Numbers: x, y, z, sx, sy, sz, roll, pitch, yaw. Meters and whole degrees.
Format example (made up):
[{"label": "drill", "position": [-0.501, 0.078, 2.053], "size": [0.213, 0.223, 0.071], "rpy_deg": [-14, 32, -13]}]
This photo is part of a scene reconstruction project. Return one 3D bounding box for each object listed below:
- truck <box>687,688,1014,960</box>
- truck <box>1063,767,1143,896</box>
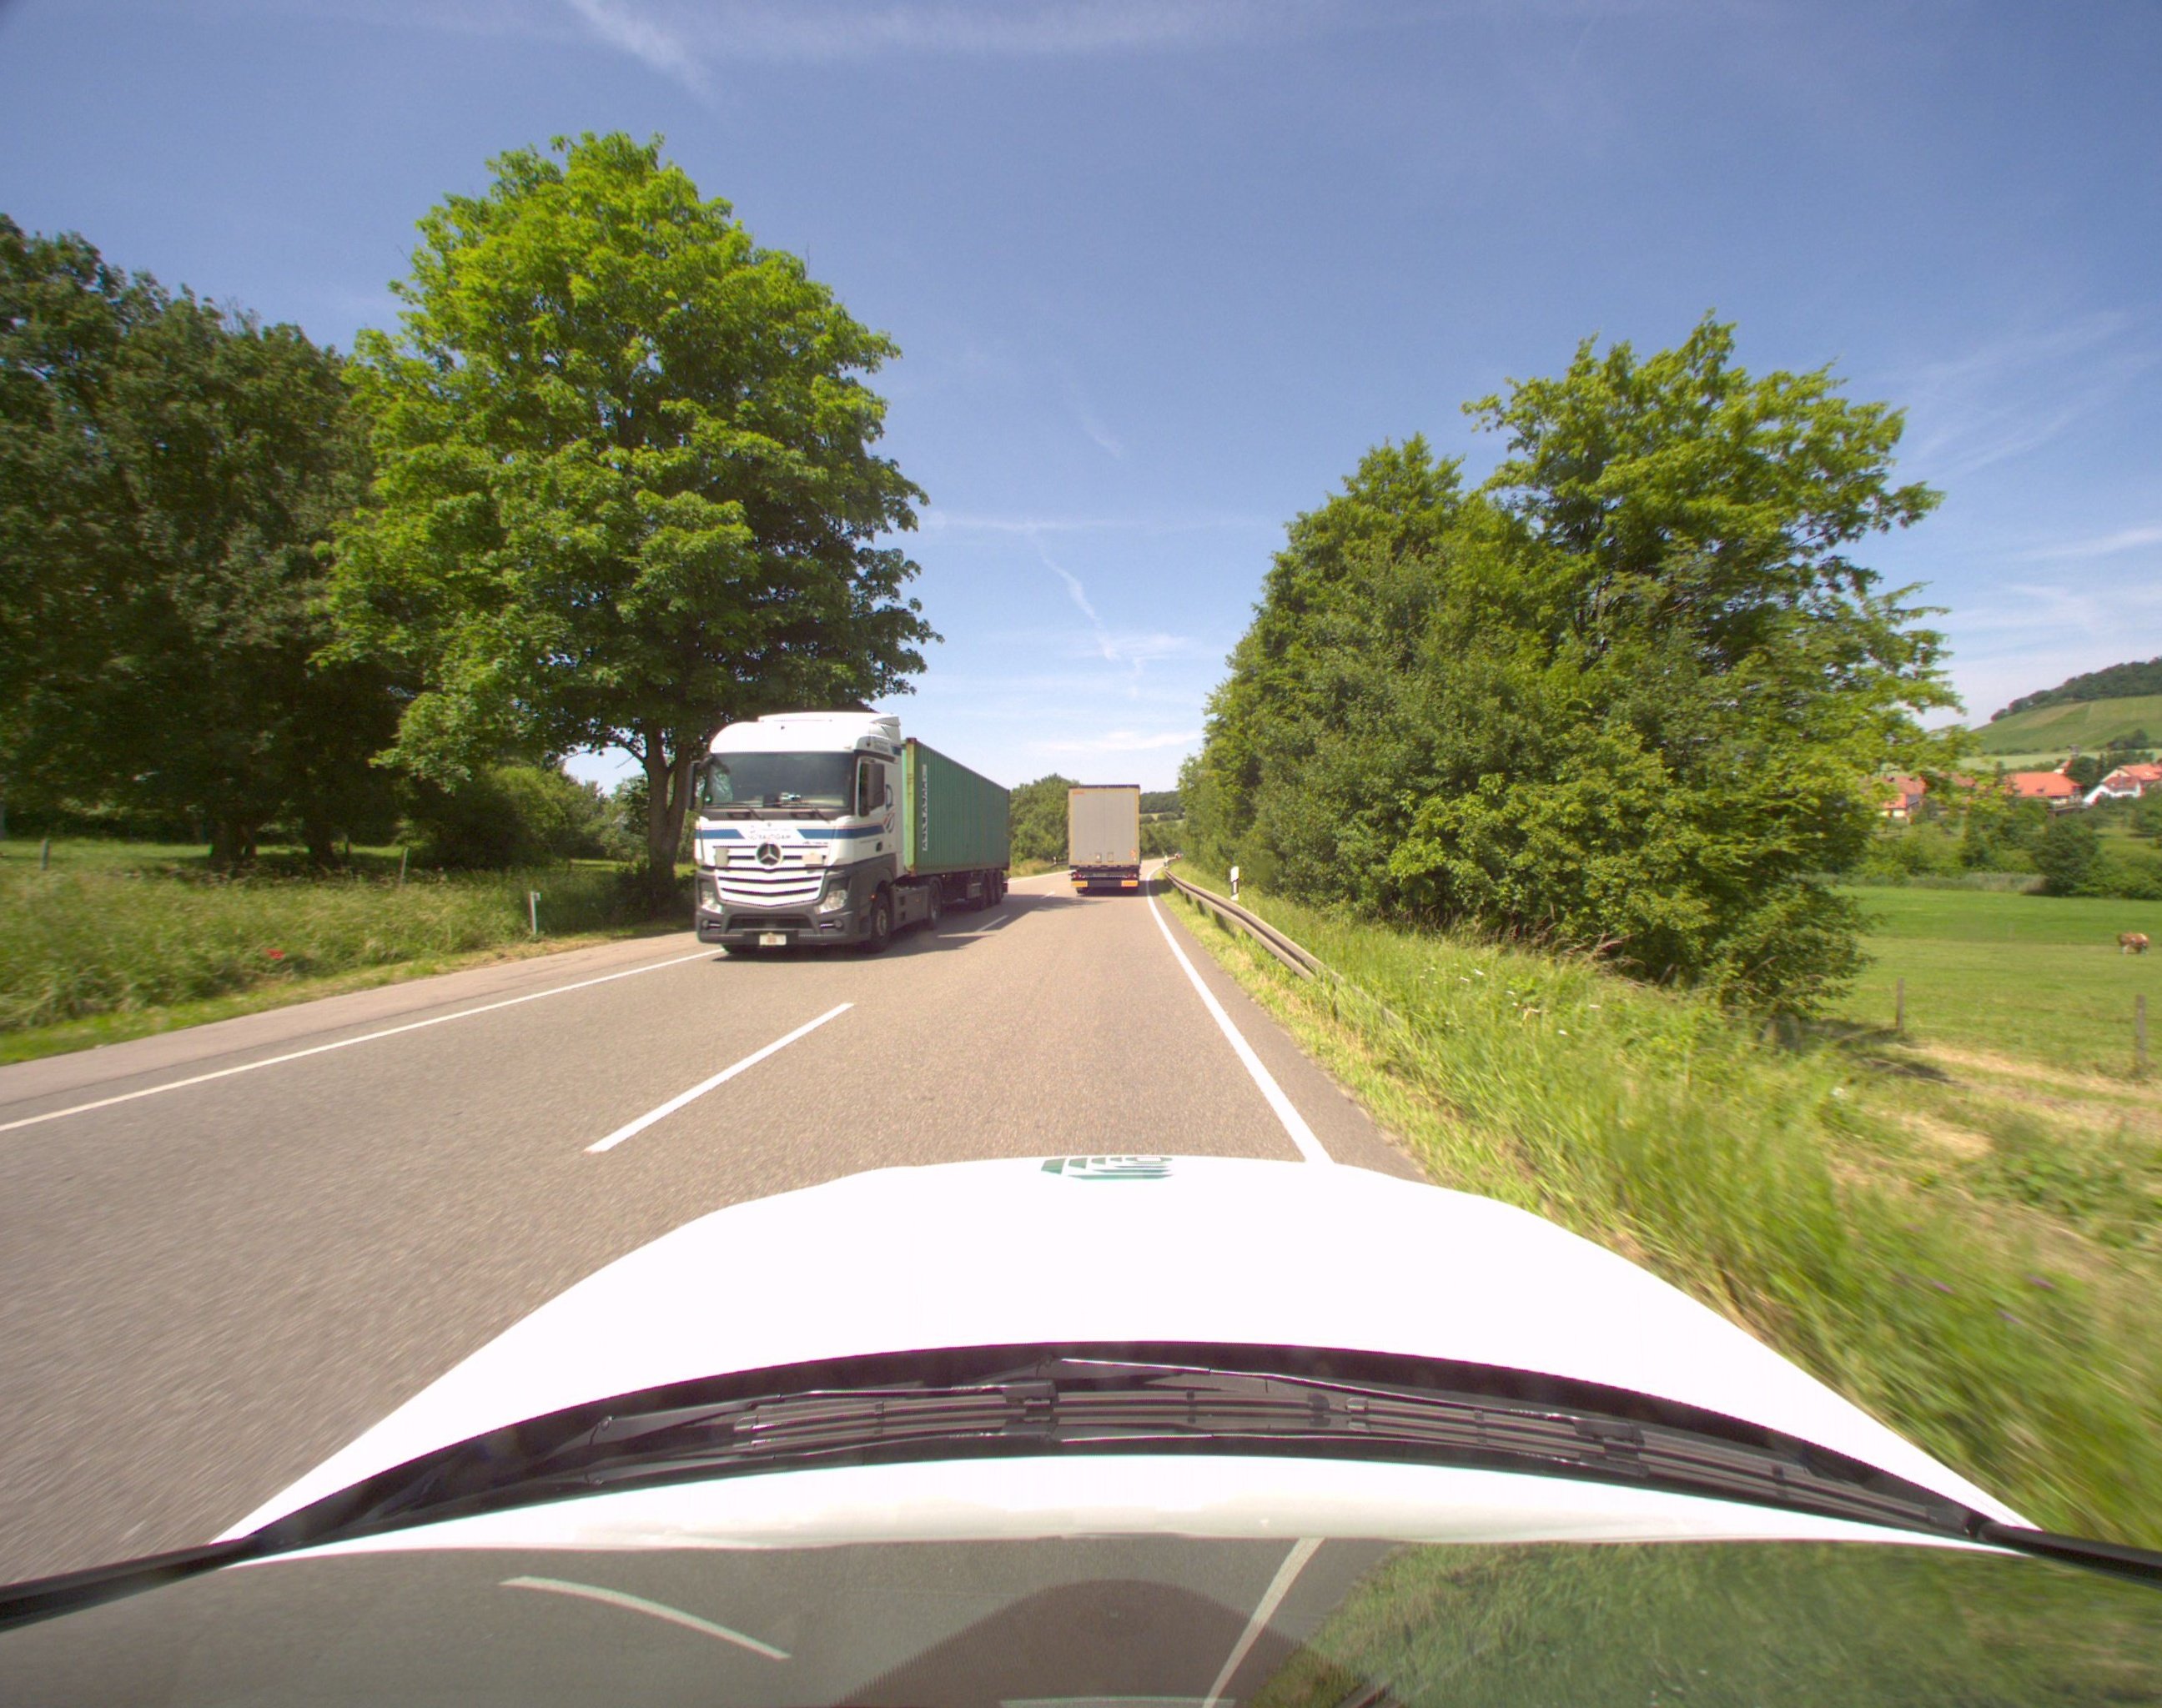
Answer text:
[{"label": "truck", "position": [-4.012, -0.485, 19.893], "size": [2.549, 3.939, 16.173], "rpy_deg": [0, 0, 3]}, {"label": "truck", "position": [1.137, -0.813, 34.663], "size": [2.805, 4.532, 11.778], "rpy_deg": [0, 0, 3]}]
